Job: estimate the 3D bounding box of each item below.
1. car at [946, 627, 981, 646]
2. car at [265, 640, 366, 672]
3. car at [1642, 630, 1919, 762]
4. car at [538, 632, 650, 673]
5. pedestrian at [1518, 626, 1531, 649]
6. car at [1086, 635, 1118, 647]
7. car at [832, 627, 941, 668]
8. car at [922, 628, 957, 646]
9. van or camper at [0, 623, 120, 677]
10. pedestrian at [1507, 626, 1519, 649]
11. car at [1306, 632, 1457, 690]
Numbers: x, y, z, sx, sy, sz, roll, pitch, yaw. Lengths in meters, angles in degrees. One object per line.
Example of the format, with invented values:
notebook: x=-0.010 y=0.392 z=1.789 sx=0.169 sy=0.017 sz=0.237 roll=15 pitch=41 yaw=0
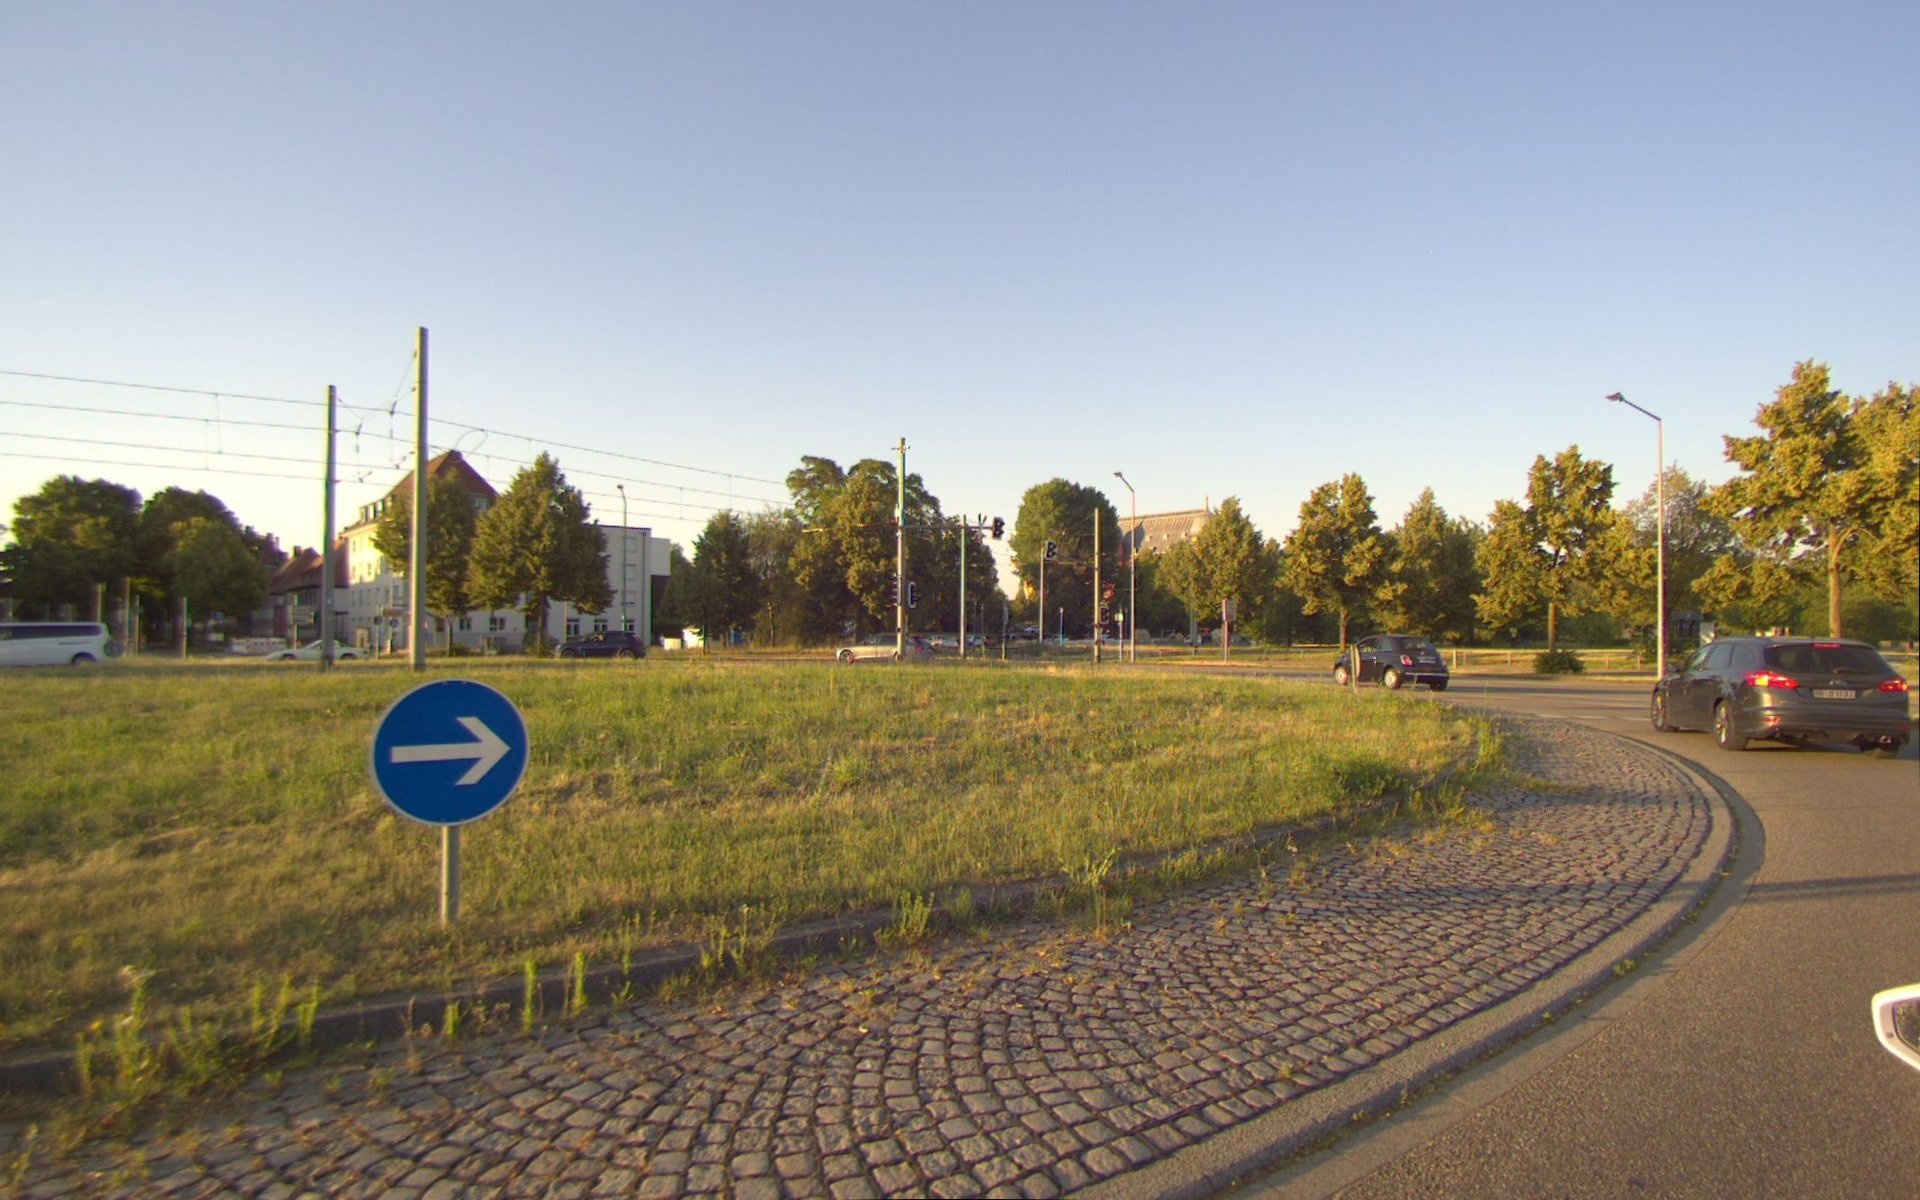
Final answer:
car: x=0.396 y=4.294 z=118.224 sx=1.986 sy=2.126 sz=3.950 roll=2 pitch=-2 yaw=-43
car: x=-28.845 y=2.483 z=45.008 sx=3.742 sy=1.272 sz=1.564 roll=1 pitch=0 yaw=-35
car: x=10.984 y=1.169 z=13.755 sx=1.717 sy=1.486 sz=4.135 roll=-1 pitch=-1 yaw=20
car: x=-16.451 y=2.341 z=45.372 sx=4.514 sy=1.771 sz=1.749 roll=0 pitch=-1 yaw=-10
pedestrian: x=40.649 y=2.703 z=72.326 sx=0.608 sy=1.648 sz=0.530 roll=0 pitch=-1 yaw=-2
car: x=19.141 y=5.558 z=135.634 sx=1.987 sy=1.571 sz=3.948 roll=2 pitch=-2 yaw=-44
car: x=-3.253 y=2.095 z=44.616 sx=4.507 sy=1.771 sz=1.752 roll=-1 pitch=-1 yaw=20
car: x=-2.372 y=4.265 z=116.092 sx=1.986 sy=2.126 sz=3.950 roll=2 pitch=-2 yaw=-43
van or camper: x=-37.728 y=2.006 z=40.779 sx=1.885 sy=2.036 sz=5.280 roll=-2 pitch=-1 yaw=38
pedestrian: x=40.549 y=2.729 z=73.639 sx=0.569 sy=1.648 sz=0.533 roll=0 pitch=-1 yaw=7
car: x=11.689 y=1.647 z=28.191 sx=1.723 sy=1.465 sz=4.121 roll=0 pitch=-1 yaw=-16
